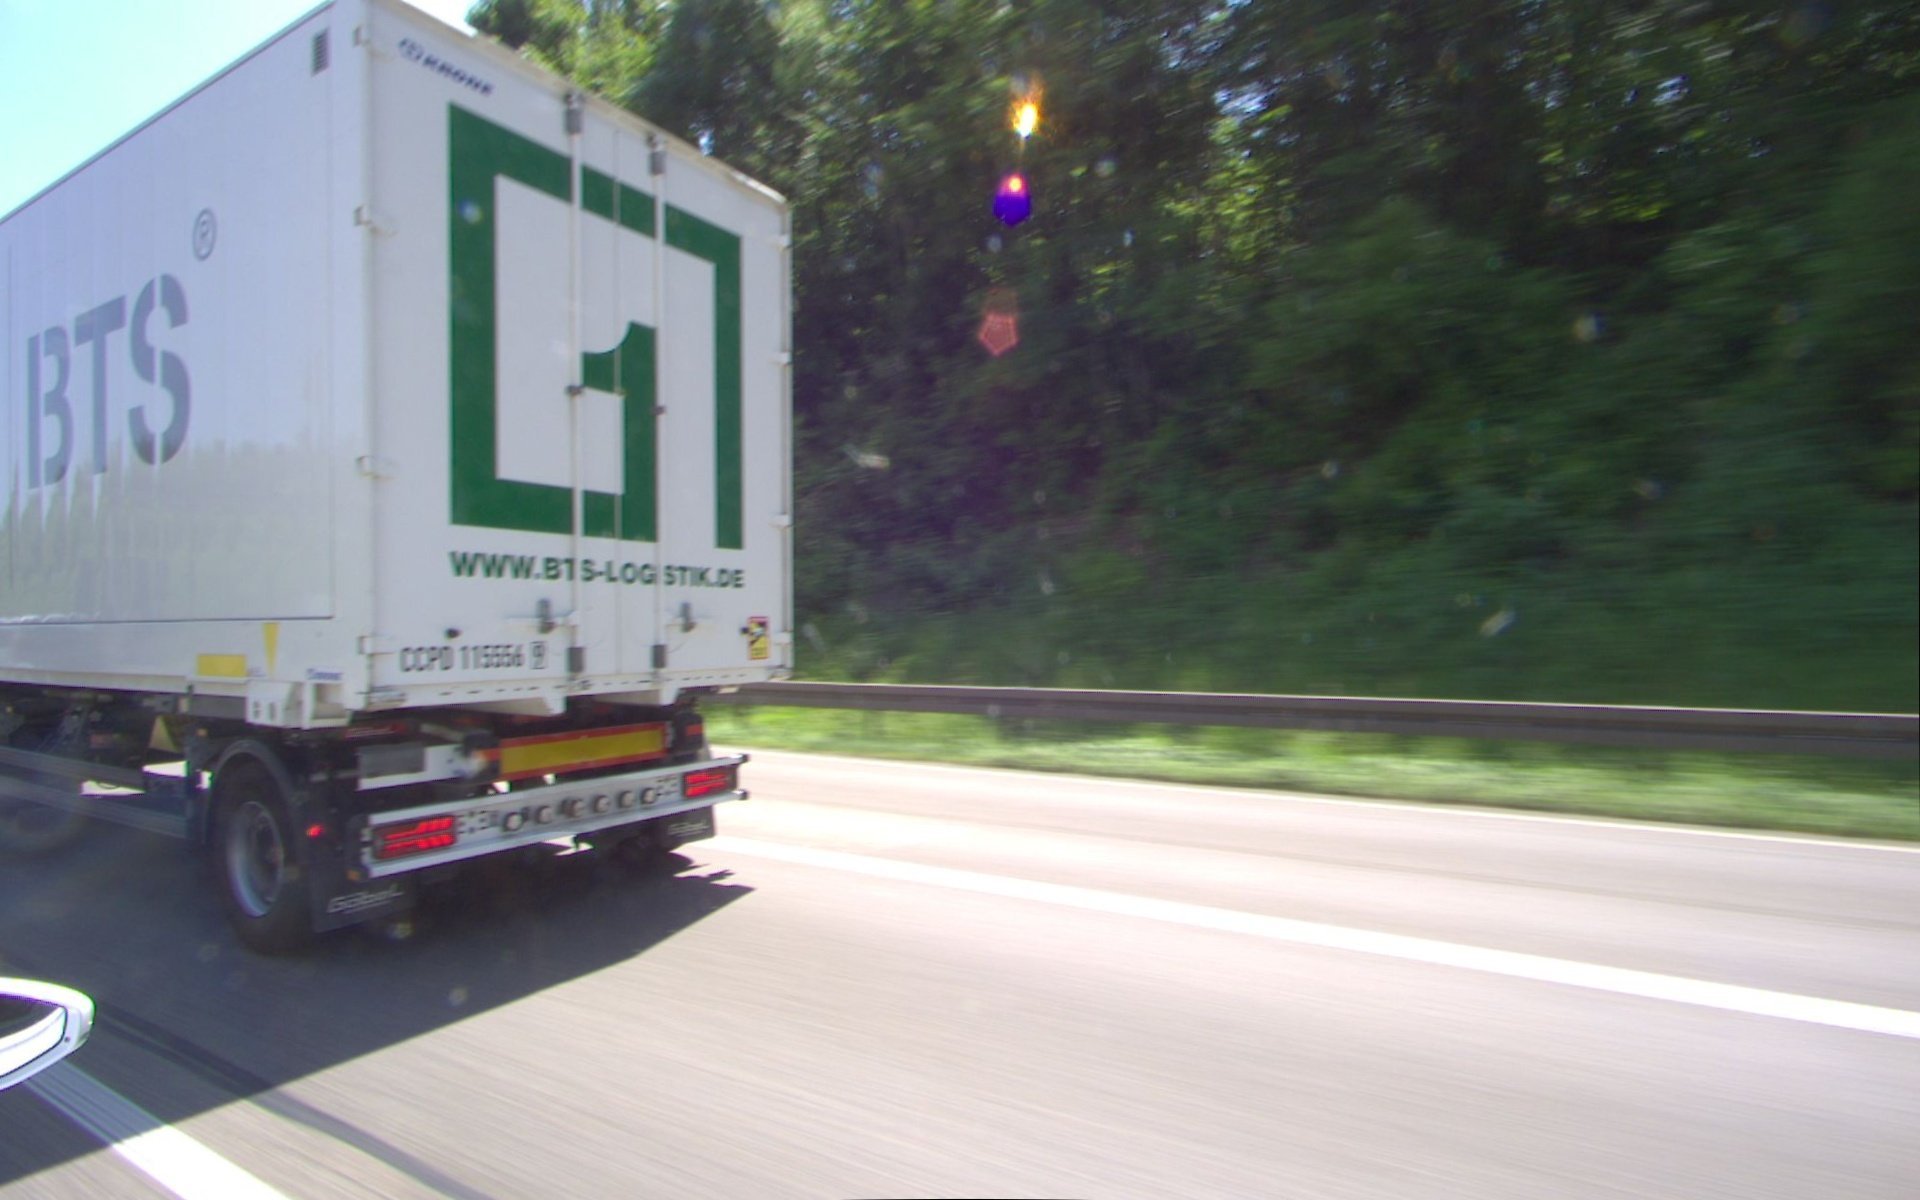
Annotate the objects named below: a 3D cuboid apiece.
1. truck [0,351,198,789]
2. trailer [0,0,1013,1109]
[{"bbox_3d":[-13.292,-0.175,12.413,10.474,4.112,2.675,-1,-1,32],"label":"truck"},{"bbox_3d":[-4.615,-0.423,6.907,9.922,4.230,2.675,-1,-1,32],"label":"trailer"}]
